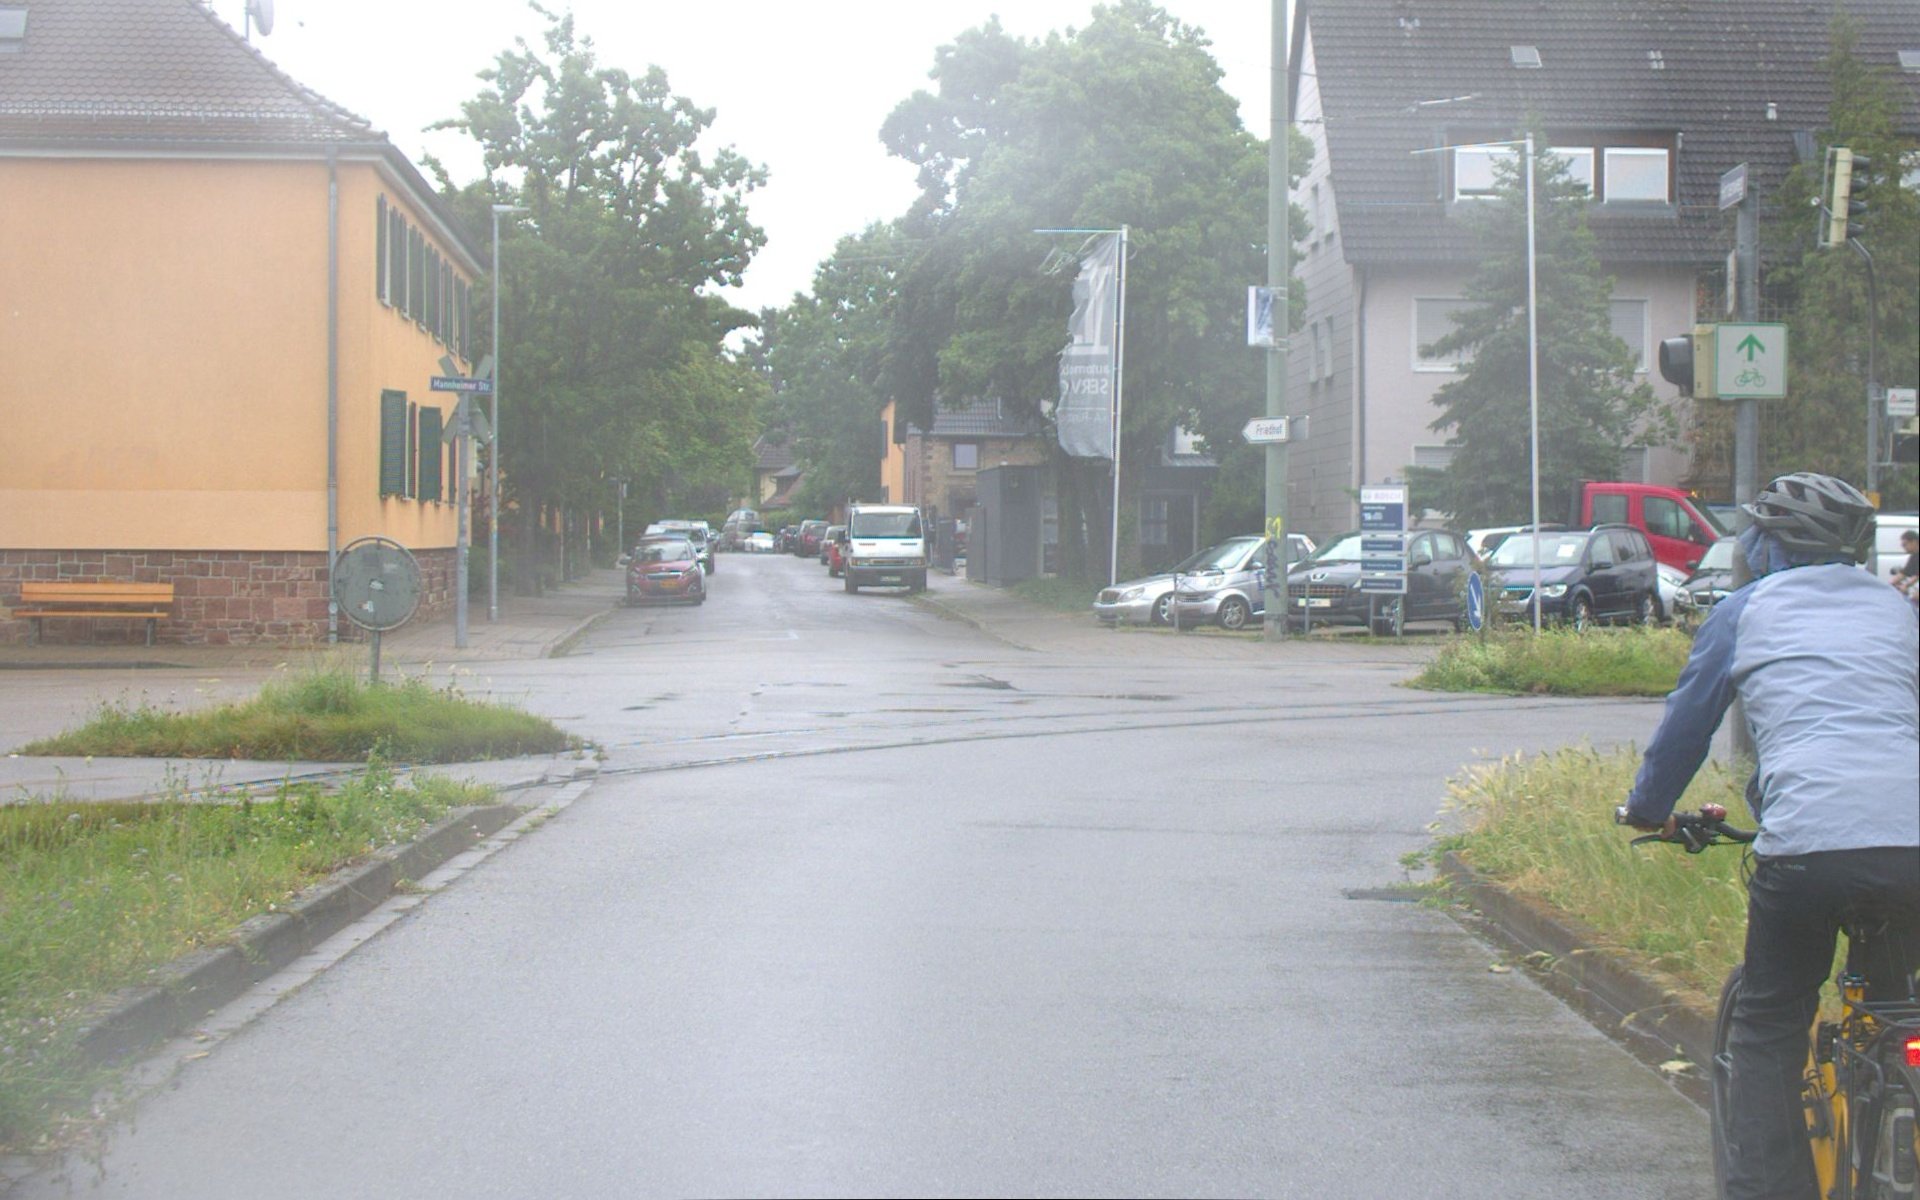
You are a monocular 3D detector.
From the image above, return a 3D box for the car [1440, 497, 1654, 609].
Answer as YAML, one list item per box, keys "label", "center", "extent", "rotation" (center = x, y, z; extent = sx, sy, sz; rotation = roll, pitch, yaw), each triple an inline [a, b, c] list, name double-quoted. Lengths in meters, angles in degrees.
- label: "car"
  center: [8.654, -0.700, 50.463]
  extent: [1.805, 1.573, 3.865]
  rotation: [0, 1, 31]

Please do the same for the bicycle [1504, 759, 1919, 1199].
- label: "bicycle"
  center: [1.518, 0.892, 6.261]
  extent: [0.752, 1.069, 1.927]
  rotation: [-1, 1, 0]

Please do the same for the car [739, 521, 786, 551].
- label: "car"
  center: [-11.947, -3.858, 207.750]
  extent: [1.828, 1.691, 4.033]
  rotation: [2, 1, -18]

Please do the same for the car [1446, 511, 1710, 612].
- label: "car"
  center: [10.018, -0.615, 55.688]
  extent: [3.969, 1.592, 1.998]
  rotation: [0, 0, 19]

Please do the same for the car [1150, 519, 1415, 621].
- label: "car"
  center: [5.209, -0.500, 55.488]
  extent: [3.858, 1.573, 1.808]
  rotation: [-1, 1, -24]

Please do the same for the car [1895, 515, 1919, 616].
- label: "car"
  center: [18.271, -0.578, 58.035]
  extent: [4.432, 1.681, 2.000]
  rotation: [0, 0, 1]

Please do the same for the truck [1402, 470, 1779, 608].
- label: "truck"
  center: [10.718, -1.016, 58.468]
  extent: [6.088, 2.264, 1.998]
  rotation: [0, 0, 18]

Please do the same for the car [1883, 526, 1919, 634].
- label: "car"
  center: [14.777, -0.244, 49.882]
  extent: [1.830, 1.499, 4.052]
  rotation: [3, 1, 27]

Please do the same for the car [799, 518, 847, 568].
- label: "car"
  center: [-5.752, -2.388, 144.208]
  extent: [1.828, 2.007, 4.001]
  rotation: [2, 1, -4]

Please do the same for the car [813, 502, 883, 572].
- label: "car"
  center: [-3.409, -1.916, 104.397]
  extent: [1.993, 2.007, 4.001]
  rotation: [2, 1, -2]

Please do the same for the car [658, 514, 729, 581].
- label: "car"
  center: [-8.431, -1.689, 109.192]
  extent: [1.993, 2.007, 4.001]
  rotation: [2, 1, -2]

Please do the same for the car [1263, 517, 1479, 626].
- label: "car"
  center: [6.236, -0.453, 51.835]
  extent: [1.805, 1.573, 3.865]
  rotation: [0, 1, 31]

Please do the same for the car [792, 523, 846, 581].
- label: "car"
  center: [-5.143, -1.773, 125.093]
  extent: [1.828, 2.007, 4.001]
  rotation: [2, 1, -3]

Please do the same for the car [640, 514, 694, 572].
- label: "car"
  center: [-10.678, -2.096, 125.543]
  extent: [1.828, 2.007, 4.001]
  rotation: [2, 1, -4]

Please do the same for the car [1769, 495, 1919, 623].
- label: "car"
  center: [15.299, -0.641, 54.603]
  extent: [4.432, 2.007, 2.000]
  rotation: [0, 0, 1]

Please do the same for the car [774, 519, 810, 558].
- label: "car"
  center: [-9.280, -3.399, 189.521]
  extent: [1.828, 2.007, 4.001]
  rotation: [2, 1, -4]

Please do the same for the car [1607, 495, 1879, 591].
- label: "car"
  center: [14.002, -1.012, 61.655]
  extent: [4.432, 1.681, 2.000]
  rotation: [0, 0, 1]

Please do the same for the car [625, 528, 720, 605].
- label: "car"
  center: [-6.233, -0.734, 74.869]
  extent: [1.993, 1.612, 4.001]
  rotation: [0, 1, -4]

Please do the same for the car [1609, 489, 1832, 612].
- label: "car"
  center: [11.083, -0.722, 49.942]
  extent: [1.997, 1.711, 3.993]
  rotation: [0, 1, 31]

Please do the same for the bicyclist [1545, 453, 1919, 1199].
- label: "bicyclist"
  center: [1.510, 0.487, 6.207]
  extent: [0.751, 1.480, 0.846]
  rotation: [-1, 1, 1]

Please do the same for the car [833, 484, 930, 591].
- label: "car"
  center: [-2.024, -1.579, 87.106]
  extent: [2.153, 2.563, 4.134]
  rotation: [2, 1, -4]

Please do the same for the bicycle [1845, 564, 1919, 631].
- label: "bicycle"
  center: [11.681, -0.042, 41.323]
  extent: [1.813, 0.784, 0.942]
  rotation: [-1, 1, -3]

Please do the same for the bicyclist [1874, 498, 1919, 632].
- label: "bicyclist"
  center: [11.642, -0.425, 41.306]
  extent: [1.039, 1.592, 0.950]
  rotation: [0, 1, -3]

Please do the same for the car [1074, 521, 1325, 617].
- label: "car"
  center: [4.081, -0.552, 58.666]
  extent: [3.858, 1.573, 1.808]
  rotation: [-1, 1, -21]

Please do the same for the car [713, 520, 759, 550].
- label: "car"
  center: [-13.891, -4.041, 213.137]
  extent: [1.828, 1.691, 4.033]
  rotation: [2, 1, -18]
